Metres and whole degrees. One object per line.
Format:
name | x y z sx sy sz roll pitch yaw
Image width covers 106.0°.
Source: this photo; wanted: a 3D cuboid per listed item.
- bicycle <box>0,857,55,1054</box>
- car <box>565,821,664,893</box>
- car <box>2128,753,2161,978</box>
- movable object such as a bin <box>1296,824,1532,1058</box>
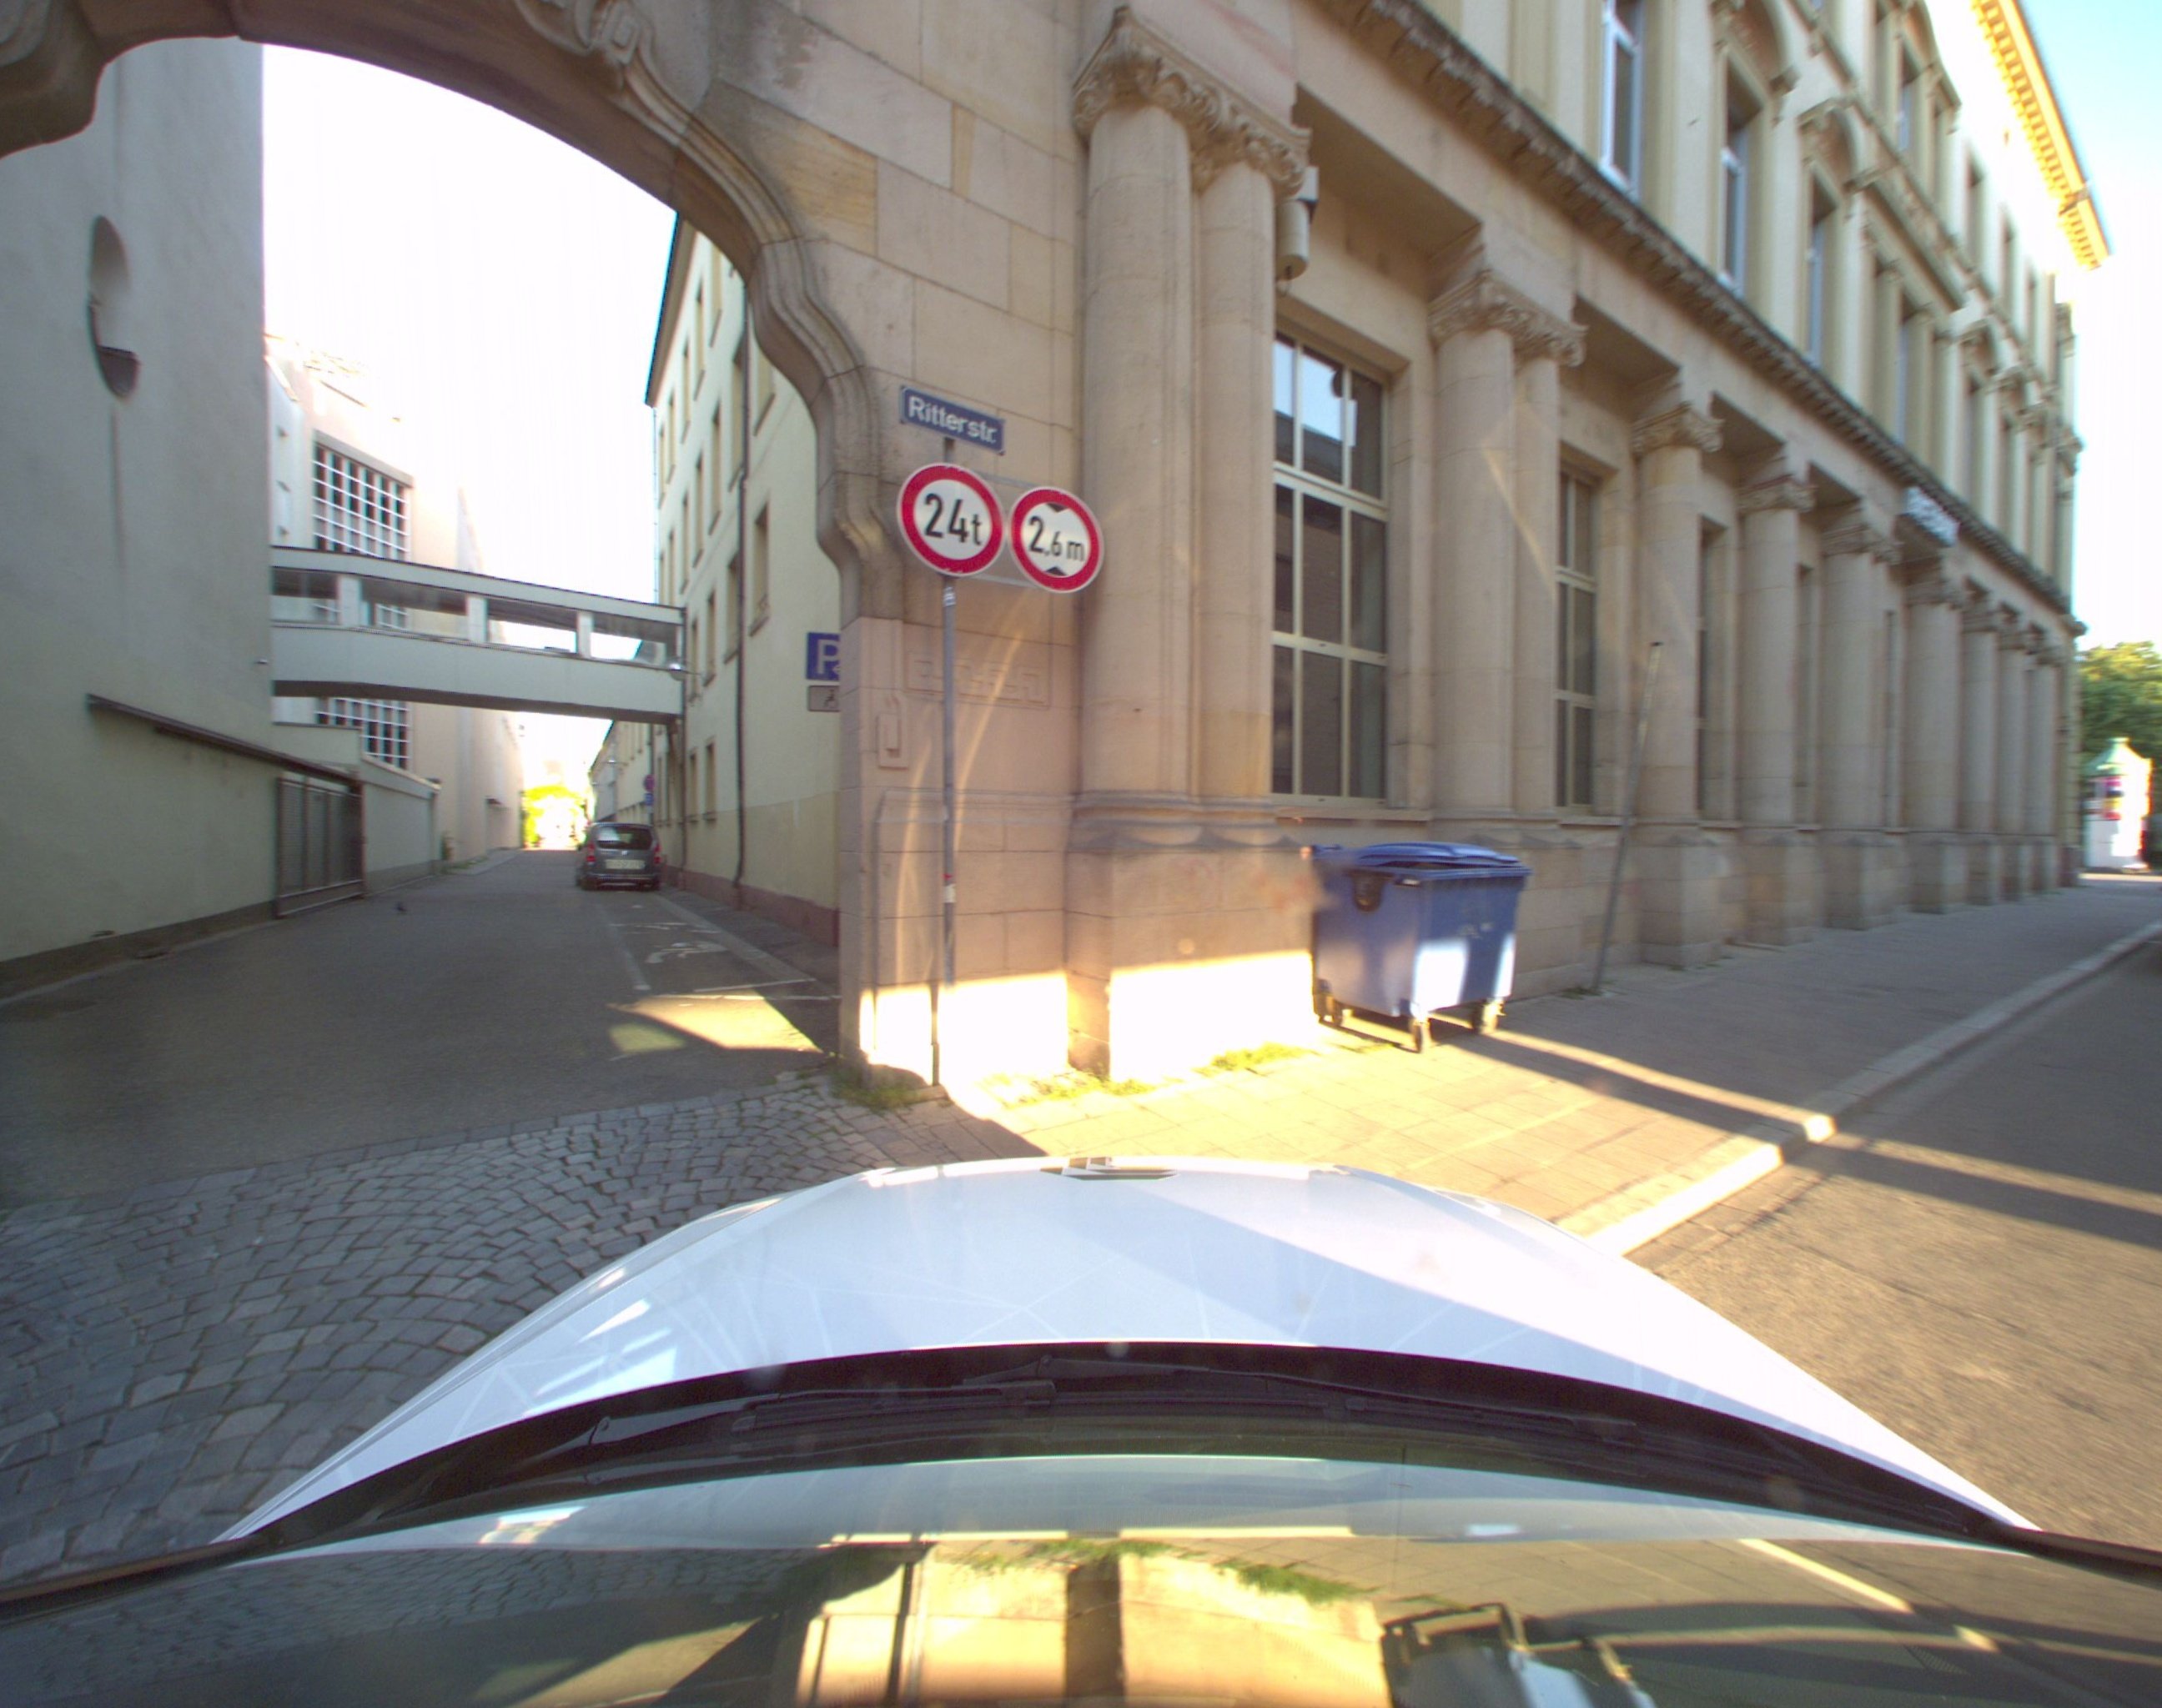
bicycle | -6.079 0.570 4.108 0.599 1.079 1.738 0 1 -33
car | -12.924 0.087 22.431 1.869 1.756 4.117 3 -2 -36
car | 15.234 0.022 10.160 6.494 2.513 1.981 -1 -3 -33
movable object such as a bin | 2.378 0.529 5.881 1.190 1.474 1.067 0 1 -29
